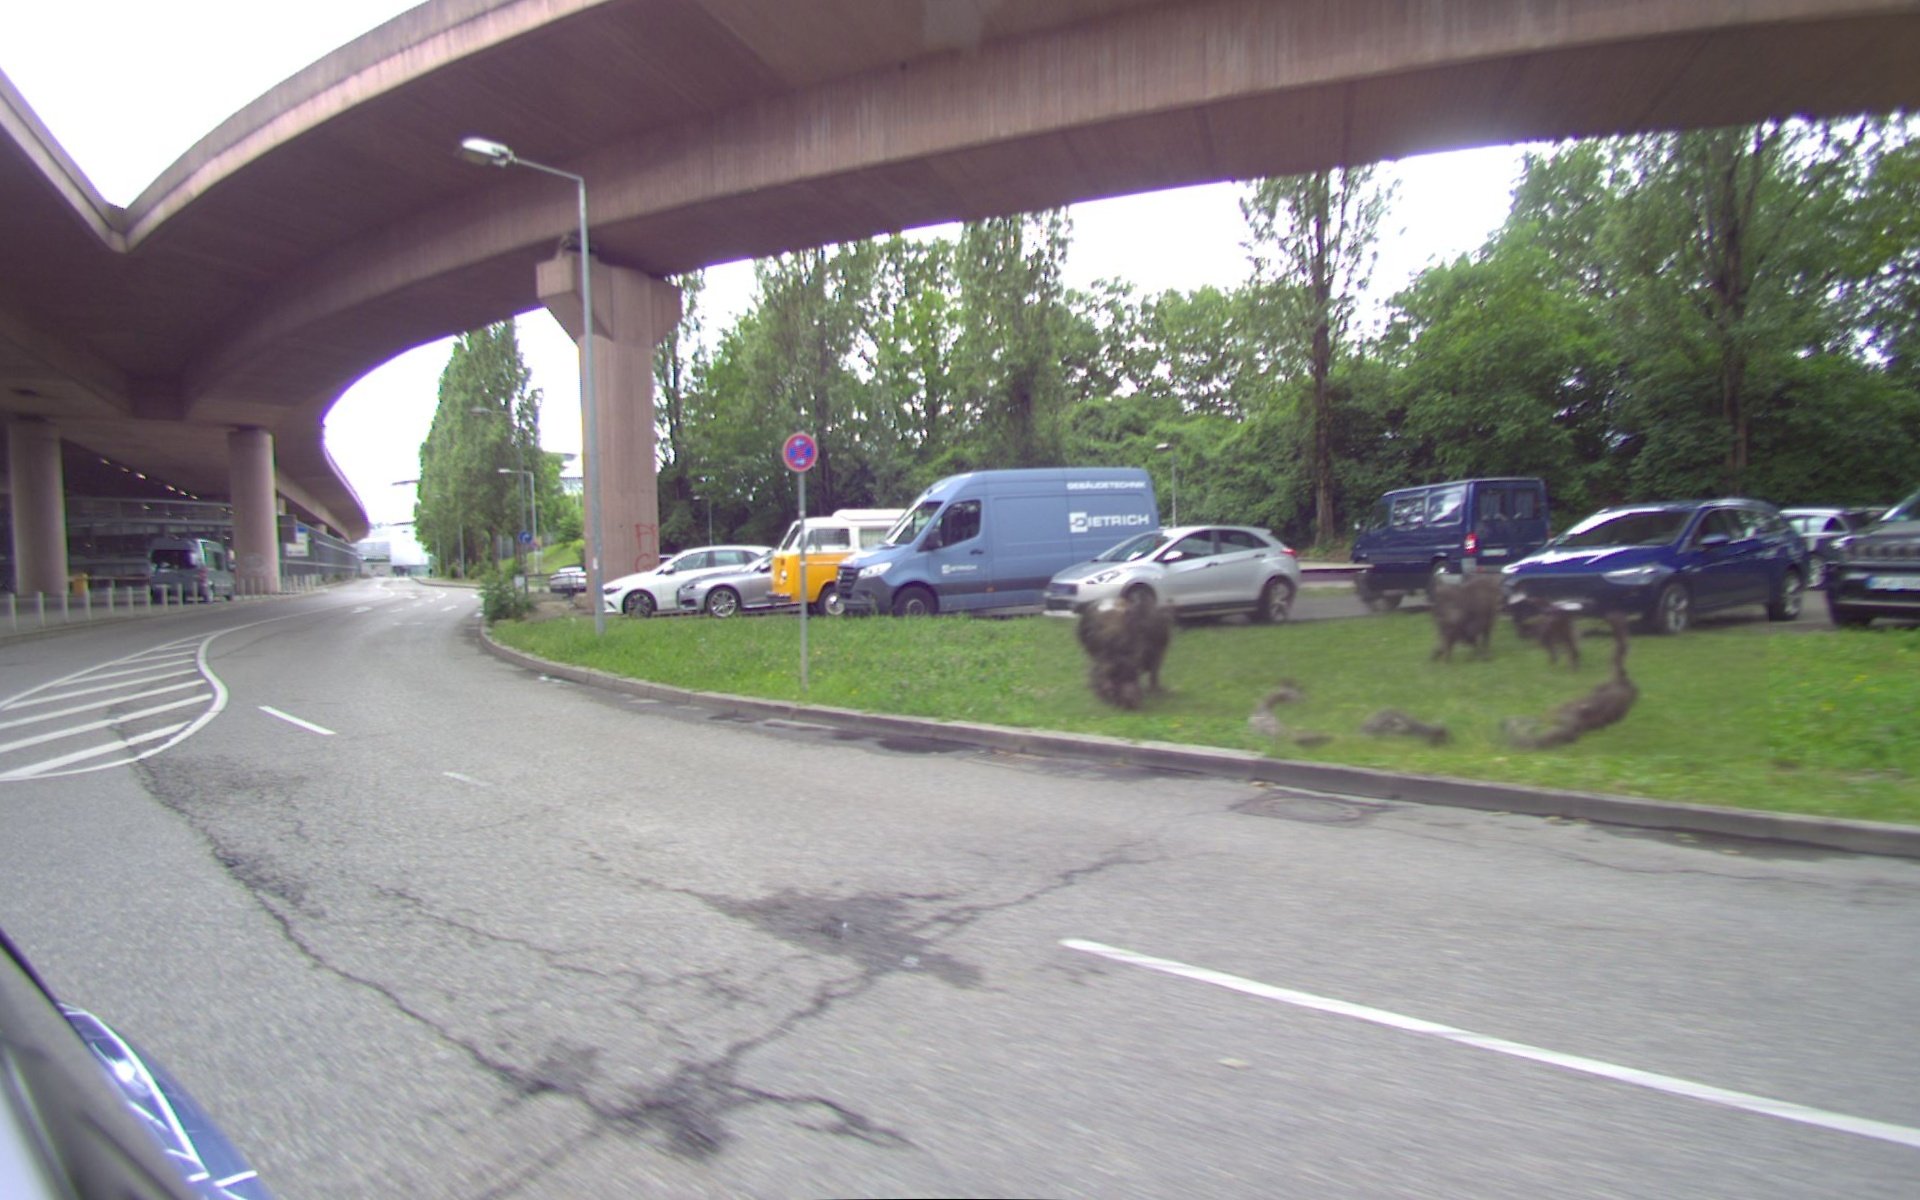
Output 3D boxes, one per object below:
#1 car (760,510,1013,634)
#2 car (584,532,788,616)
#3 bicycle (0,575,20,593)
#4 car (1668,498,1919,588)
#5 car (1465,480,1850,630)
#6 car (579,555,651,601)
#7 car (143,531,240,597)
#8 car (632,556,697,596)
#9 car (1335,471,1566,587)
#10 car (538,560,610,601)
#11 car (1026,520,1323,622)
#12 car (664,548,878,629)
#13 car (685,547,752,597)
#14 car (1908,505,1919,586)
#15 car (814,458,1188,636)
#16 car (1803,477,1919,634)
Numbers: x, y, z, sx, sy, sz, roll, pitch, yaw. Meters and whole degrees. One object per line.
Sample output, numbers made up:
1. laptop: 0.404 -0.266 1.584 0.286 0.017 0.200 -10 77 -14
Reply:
1. car: -1.447 -0.585 19.750 4.492 2.126 1.857 -3 2 -21
2. car: -6.356 -0.620 23.645 4.321 1.617 1.960 -4 2 -16
3. bicycle: -51.380 -0.846 53.822 1.987 0.933 0.420 -2 1 -38
4. car: 15.846 -0.964 18.685 1.969 1.445 4.651 0 1 -5
5. car: 8.488 -0.500 12.214 4.771 1.499 2.083 -1 1 -32
6. car: -14.481 -0.980 42.711 1.969 1.594 4.409 -5 4 -8
7. car: -32.601 -1.476 43.128 1.965 2.632 6.095 -1 1 -24
8. car: -11.603 -0.949 39.975 1.765 1.464 3.752 -2 2 -6
9. car: 10.553 -1.433 22.318 2.090 2.271 5.027 0 1 -8
10. car: -17.285 -0.921 45.579 1.969 1.490 4.839 -5 4 -9
11. car: 3.378 -0.460 15.954 4.218 1.425 2.007 -1 1 -24
12. car: -4.074 -0.282 21.663 4.185 1.381 2.006 -4 2 -18
13. car: -8.941 -1.069 37.758 1.834 1.703 4.170 -2 2 -6
14. car: 18.875 -0.984 17.134 1.766 1.485 3.893 -1 1 -6
15. car: 0.748 -0.984 17.902 6.088 2.745 2.376 -3 2 -24
16. car: 11.299 -0.466 10.757 4.373 1.523 1.903 -1 1 -25
